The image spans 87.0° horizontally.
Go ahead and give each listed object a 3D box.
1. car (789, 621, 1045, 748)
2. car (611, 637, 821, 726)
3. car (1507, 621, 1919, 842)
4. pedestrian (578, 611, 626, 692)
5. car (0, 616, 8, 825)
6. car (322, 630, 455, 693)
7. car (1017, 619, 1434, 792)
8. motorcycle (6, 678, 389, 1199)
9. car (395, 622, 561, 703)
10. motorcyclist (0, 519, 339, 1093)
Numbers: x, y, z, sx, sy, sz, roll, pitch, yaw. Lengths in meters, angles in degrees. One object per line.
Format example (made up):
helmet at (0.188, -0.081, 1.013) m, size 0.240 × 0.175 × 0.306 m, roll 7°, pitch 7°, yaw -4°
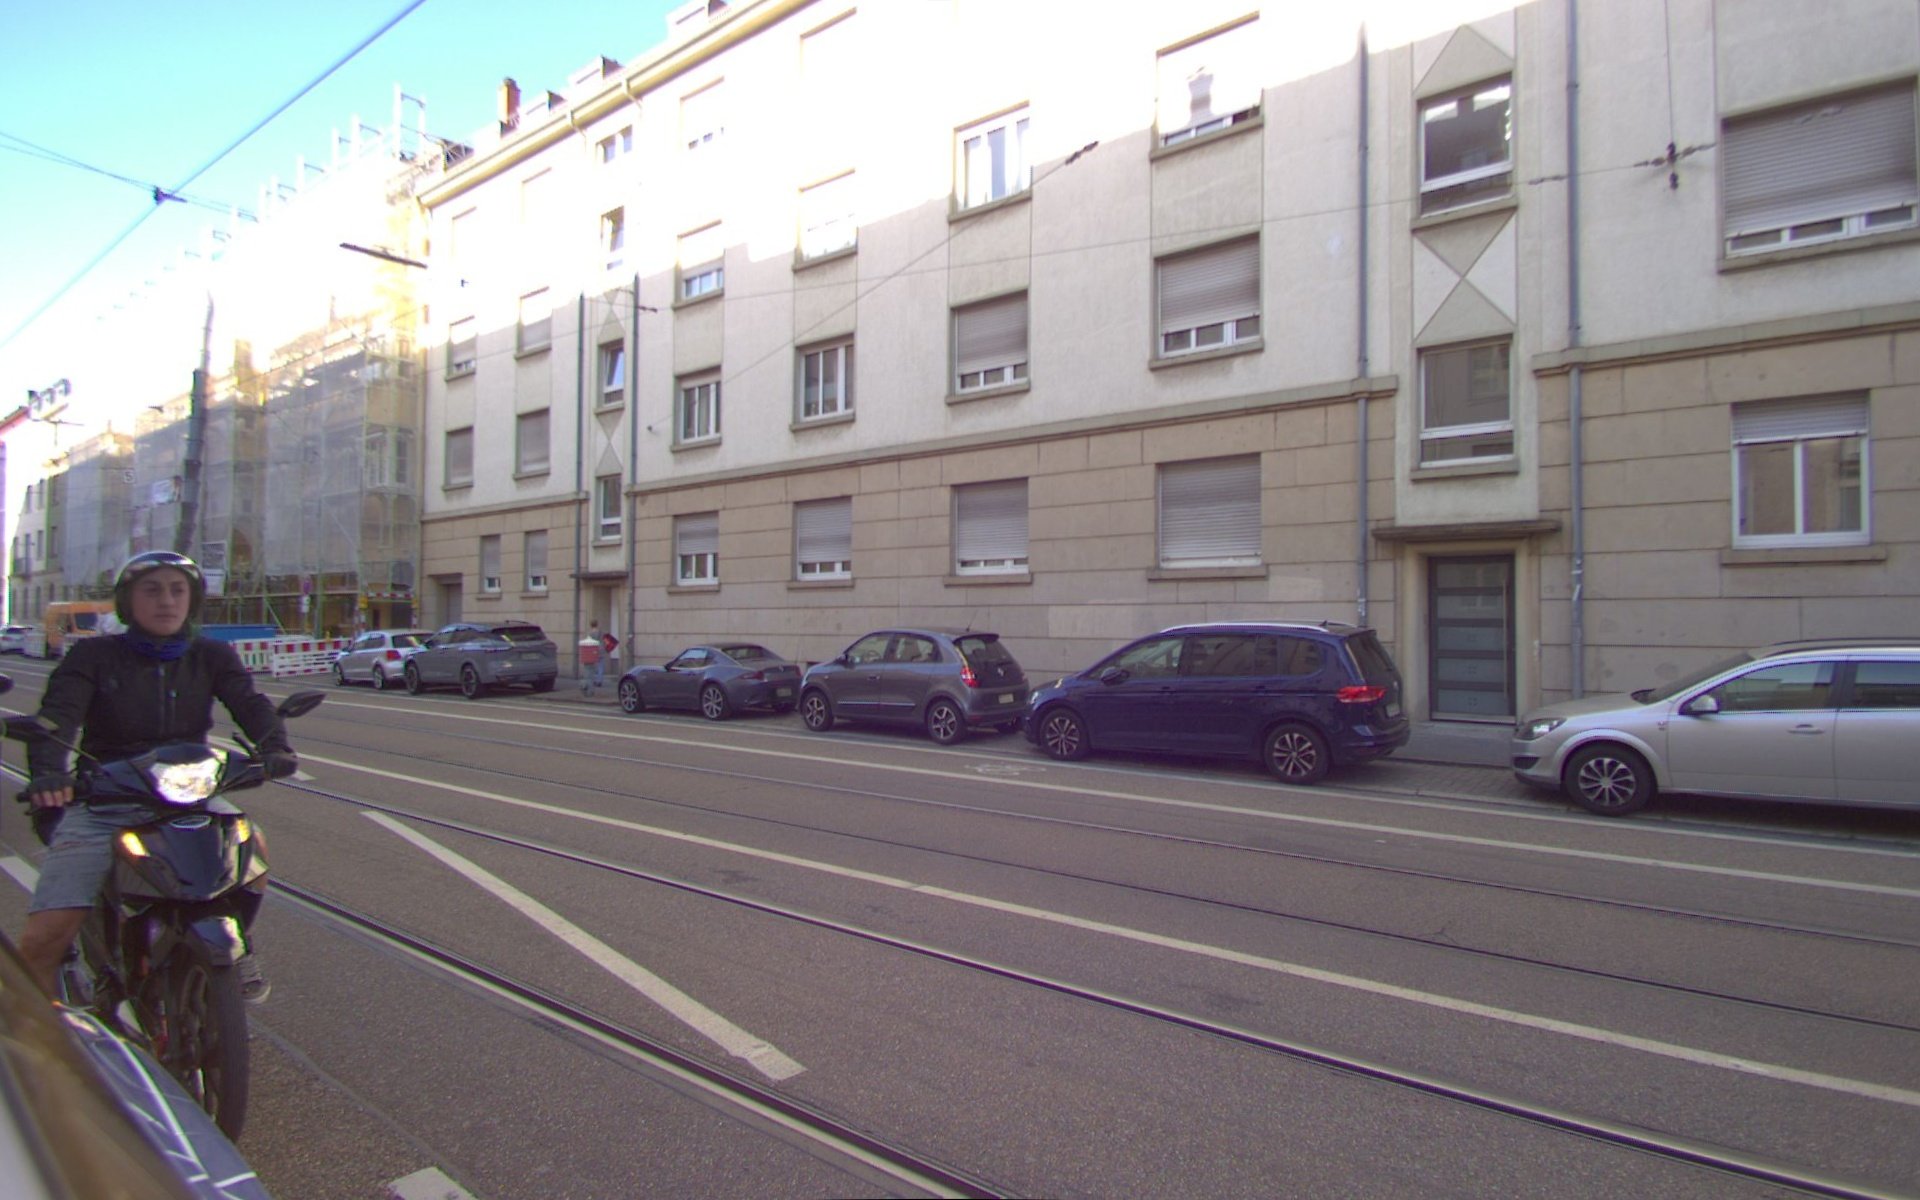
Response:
car at (-0.679, 1.115, 14.688) m, size 3.493 × 1.584 × 1.650 m, roll -1°, pitch 0°, yaw 38°
car at (-4.259, 1.333, 17.529) m, size 3.483 × 1.286 × 1.730 m, roll -1°, pitch 0°, yaw 37°
car at (7.225, 0.990, 8.526) m, size 4.358 × 1.571 × 1.975 m, roll -1°, pitch 0°, yaw 38°
pedestrian at (-8.160, 1.149, 23.054) m, size 0.776 × 1.777 × 0.742 m, roll -1°, pitch 0°, yaw 41°
car at (-8.028, 0.876, 6.973) m, size 3.997 × 1.515 × 1.670 m, roll -2°, pitch -3°, yaw 40°
car at (-14.403, 1.491, 25.441) m, size 3.639 × 1.402 × 1.617 m, roll -1°, pitch 0°, yaw 37°
car at (2.962, 1.048, 11.718) m, size 4.285 × 1.597 × 1.887 m, roll -1°, pitch 0°, yaw 37°
motorcycle at (-2.402, 0.911, 3.075) m, size 1.980 × 1.228 × 0.532 m, roll -1°, pitch 0°, yaw 41°
car at (-10.842, 1.315, 22.661) m, size 4.108 × 1.603 × 1.691 m, roll -1°, pitch 0°, yaw 38°
motorcyclist at (-2.525, 0.543, 3.160) m, size 0.598 × 1.516 × 0.851 m, roll -1°, pitch 0°, yaw 41°
